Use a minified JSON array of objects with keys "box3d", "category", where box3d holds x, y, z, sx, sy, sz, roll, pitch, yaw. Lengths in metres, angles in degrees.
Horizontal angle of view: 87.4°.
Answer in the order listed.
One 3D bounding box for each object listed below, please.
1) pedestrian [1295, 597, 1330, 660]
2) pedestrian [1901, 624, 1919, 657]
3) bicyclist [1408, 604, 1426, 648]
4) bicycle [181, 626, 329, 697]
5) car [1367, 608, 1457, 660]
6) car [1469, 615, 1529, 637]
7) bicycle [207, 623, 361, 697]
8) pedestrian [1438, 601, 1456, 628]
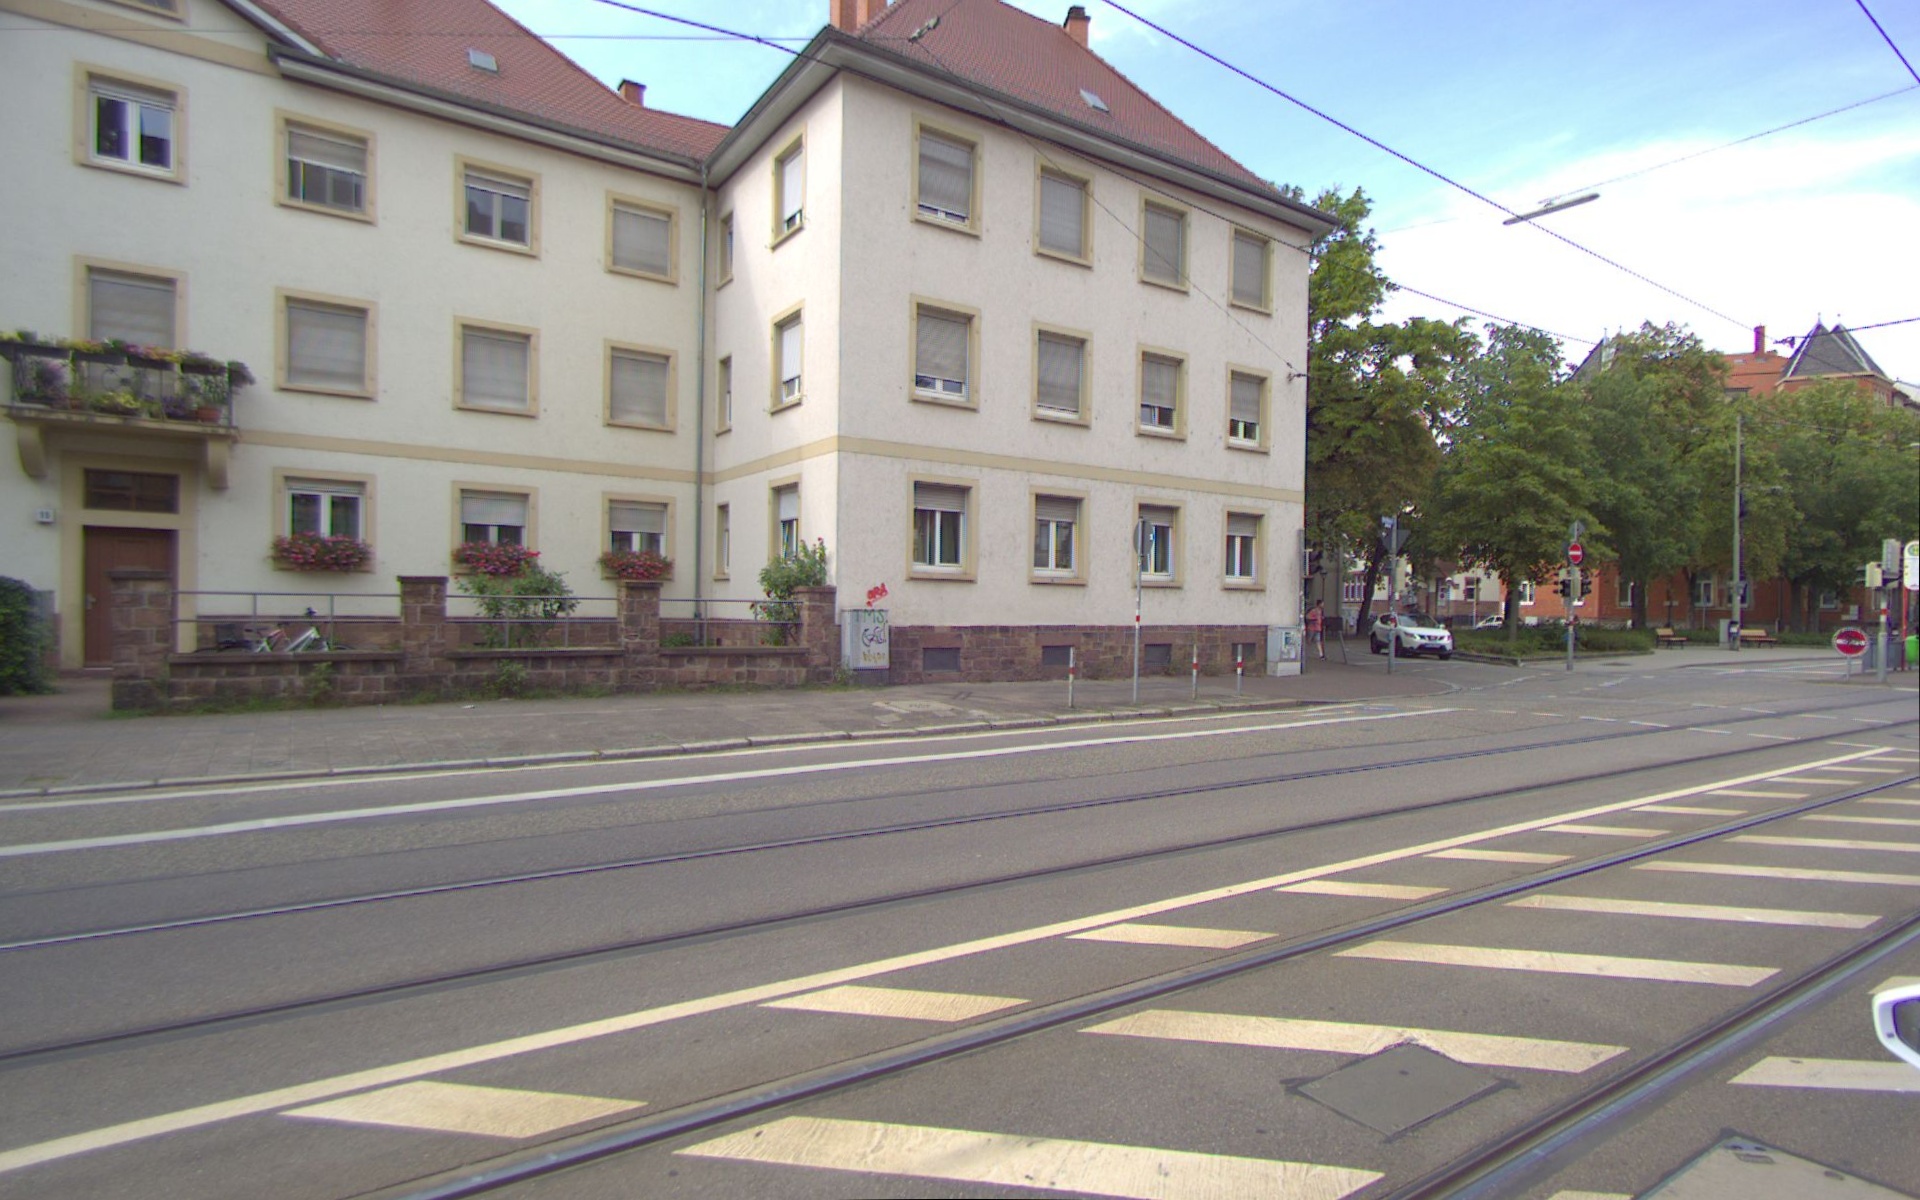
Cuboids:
[{"box3d":[11.011,0.869,31.392,0.822,1.926,0.729,0,0,39],"category":"pedestrian"},{"box3d":[50.451,2.123,53.197,0.726,1.725,0.826,1,0,-38],"category":"pedestrian"},{"box3d":[18.899,1.082,41.565,0.601,1.799,0.909,0,0,29],"category":"bicyclist"},{"box3d":[-9.718,0.832,13.910,1.654,0.927,0.475,1,0,-34],"category":"bicycle"},{"box3d":[16.506,1.280,36.894,1.804,1.743,4.163,2,-2,7],"category":"car"},{"box3d":[39.602,1.900,73.917,1.783,1.497,3.992,1,-1,-10],"category":"car"},{"box3d":[-8.909,0.773,13.294,1.654,0.927,0.475,1,0,-34],"category":"bicycle"},{"box3d":[31.414,0.929,64.809,0.720,1.777,0.751,1,0,-15],"category":"pedestrian"}]
